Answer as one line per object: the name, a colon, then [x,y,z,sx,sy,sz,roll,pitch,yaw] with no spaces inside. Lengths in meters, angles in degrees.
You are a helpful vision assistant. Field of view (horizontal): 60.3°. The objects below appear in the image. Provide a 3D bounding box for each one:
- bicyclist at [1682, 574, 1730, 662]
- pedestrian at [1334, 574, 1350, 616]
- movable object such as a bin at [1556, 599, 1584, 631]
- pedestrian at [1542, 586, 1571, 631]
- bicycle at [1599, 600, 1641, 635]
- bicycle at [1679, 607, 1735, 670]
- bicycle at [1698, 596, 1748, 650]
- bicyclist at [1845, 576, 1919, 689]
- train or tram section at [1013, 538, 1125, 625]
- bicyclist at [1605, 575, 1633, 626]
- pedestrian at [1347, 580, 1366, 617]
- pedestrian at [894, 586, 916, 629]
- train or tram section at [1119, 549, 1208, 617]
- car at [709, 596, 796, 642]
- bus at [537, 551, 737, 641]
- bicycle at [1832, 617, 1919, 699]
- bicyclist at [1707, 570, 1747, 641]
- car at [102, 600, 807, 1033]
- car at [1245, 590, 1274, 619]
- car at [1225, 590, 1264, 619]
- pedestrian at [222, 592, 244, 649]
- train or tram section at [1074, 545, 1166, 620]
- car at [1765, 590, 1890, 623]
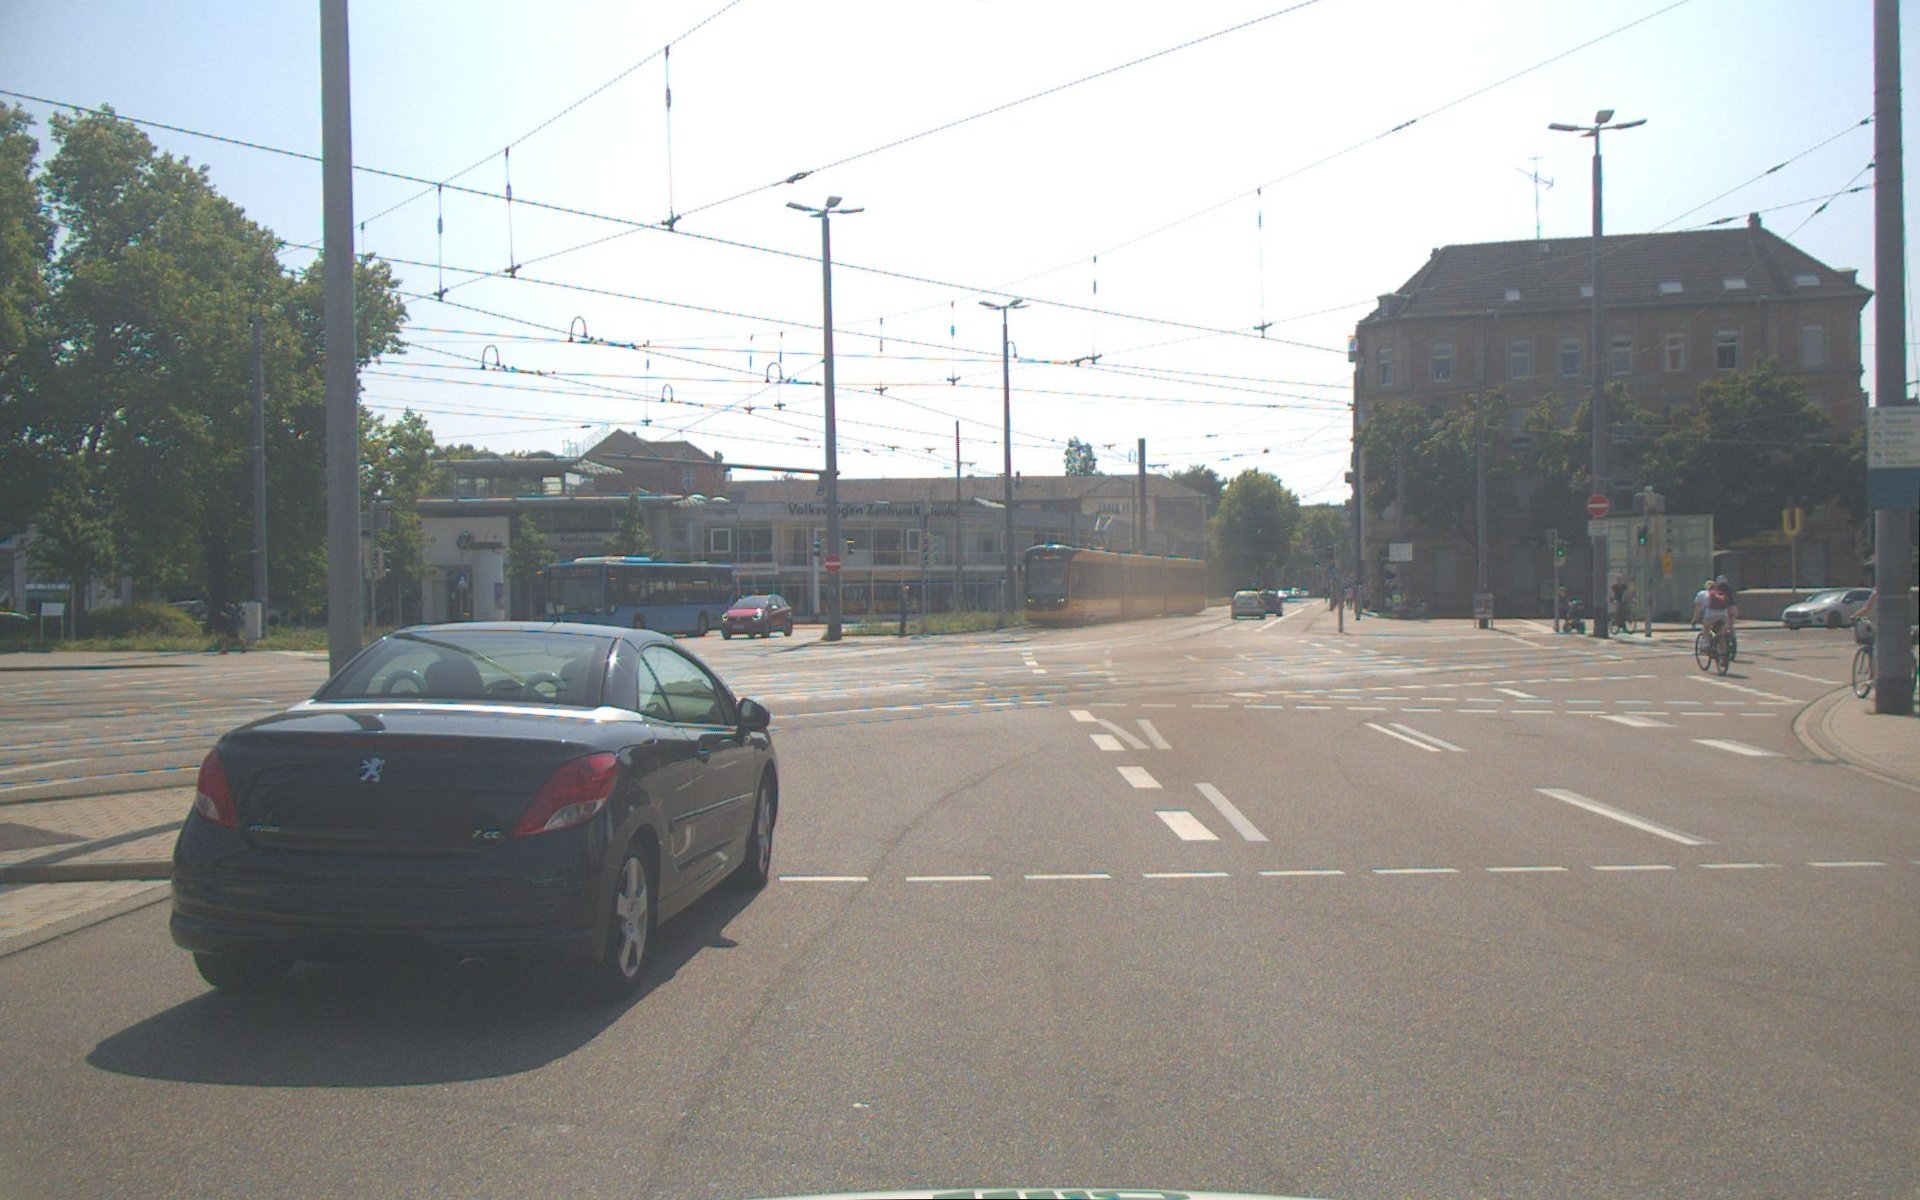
bicyclist: [13.302,0.315,29.496,0.614,1.544,0.712,-1,0,10]
pedestrian: [28.199,-0.375,121.977,0.963,3.070,0.975,-1,0,4]
movable object such as a bin: [21.505,0.521,58.314,0.504,1.096,0.808,-1,0,-27]
pedestrian: [21.306,0.309,59.086,0.520,1.572,0.846,-1,0,-25]
bicycle: [20.662,0.533,51.833,0.460,1.073,1.651,-1,0,-8]
bicycle: [13.420,0.674,29.758,0.525,1.073,1.655,-1,0,11]
bicycle: [15.708,0.463,34.081,0.525,1.073,1.655,-1,0,11]
bicyclist: [12.893,0.440,23.077,0.718,1.544,0.664,-1,0,3]
train or tram section: [5.042,-0.815,73.997,2.534,3.578,10.905,-1,0,17]
bicyclist: [20.646,0.011,51.821,0.600,1.555,0.520,-1,0,-9]
pedestrian: [18.010,-0.071,75.152,0.687,1.631,0.572,-1,0,-9]
pedestrian: [-1.882,0.251,56.746,0.666,1.468,0.364,-1,0,-19]
train or tram section: [11.772,-0.948,94.581,2.534,3.578,12.978,-1,0,18]
car: [-7.625,0.681,61.199,1.713,1.579,4.003,-1,0,16]
bus: [-12.220,-0.168,64.230,2.507,3.136,12.032,-1,0,15]
bicycle: [12.899,0.788,23.155,0.481,1.073,1.823,-1,0,3]
bicyclist: [15.625,0.104,33.696,0.519,1.417,0.894,-1,0,10]
car: [-1.898,0.722,7.478,1.728,1.412,3.783,1,0,5]
car: [17.607,0.270,97.239,1.601,1.646,4.004,-1,0,10]
car: [15.100,0.236,87.701,1.732,1.440,4.192,-1,0,13]
pedestrian: [-21.889,0.619,49.805,0.544,1.713,0.451,-1,0,-20]
train or tram section: [8.218,-0.857,83.829,2.534,3.578,9.663,-1,0,18]
car: [31.223,0.211,59.544,3.935,1.109,1.985,-1,0,-24]
